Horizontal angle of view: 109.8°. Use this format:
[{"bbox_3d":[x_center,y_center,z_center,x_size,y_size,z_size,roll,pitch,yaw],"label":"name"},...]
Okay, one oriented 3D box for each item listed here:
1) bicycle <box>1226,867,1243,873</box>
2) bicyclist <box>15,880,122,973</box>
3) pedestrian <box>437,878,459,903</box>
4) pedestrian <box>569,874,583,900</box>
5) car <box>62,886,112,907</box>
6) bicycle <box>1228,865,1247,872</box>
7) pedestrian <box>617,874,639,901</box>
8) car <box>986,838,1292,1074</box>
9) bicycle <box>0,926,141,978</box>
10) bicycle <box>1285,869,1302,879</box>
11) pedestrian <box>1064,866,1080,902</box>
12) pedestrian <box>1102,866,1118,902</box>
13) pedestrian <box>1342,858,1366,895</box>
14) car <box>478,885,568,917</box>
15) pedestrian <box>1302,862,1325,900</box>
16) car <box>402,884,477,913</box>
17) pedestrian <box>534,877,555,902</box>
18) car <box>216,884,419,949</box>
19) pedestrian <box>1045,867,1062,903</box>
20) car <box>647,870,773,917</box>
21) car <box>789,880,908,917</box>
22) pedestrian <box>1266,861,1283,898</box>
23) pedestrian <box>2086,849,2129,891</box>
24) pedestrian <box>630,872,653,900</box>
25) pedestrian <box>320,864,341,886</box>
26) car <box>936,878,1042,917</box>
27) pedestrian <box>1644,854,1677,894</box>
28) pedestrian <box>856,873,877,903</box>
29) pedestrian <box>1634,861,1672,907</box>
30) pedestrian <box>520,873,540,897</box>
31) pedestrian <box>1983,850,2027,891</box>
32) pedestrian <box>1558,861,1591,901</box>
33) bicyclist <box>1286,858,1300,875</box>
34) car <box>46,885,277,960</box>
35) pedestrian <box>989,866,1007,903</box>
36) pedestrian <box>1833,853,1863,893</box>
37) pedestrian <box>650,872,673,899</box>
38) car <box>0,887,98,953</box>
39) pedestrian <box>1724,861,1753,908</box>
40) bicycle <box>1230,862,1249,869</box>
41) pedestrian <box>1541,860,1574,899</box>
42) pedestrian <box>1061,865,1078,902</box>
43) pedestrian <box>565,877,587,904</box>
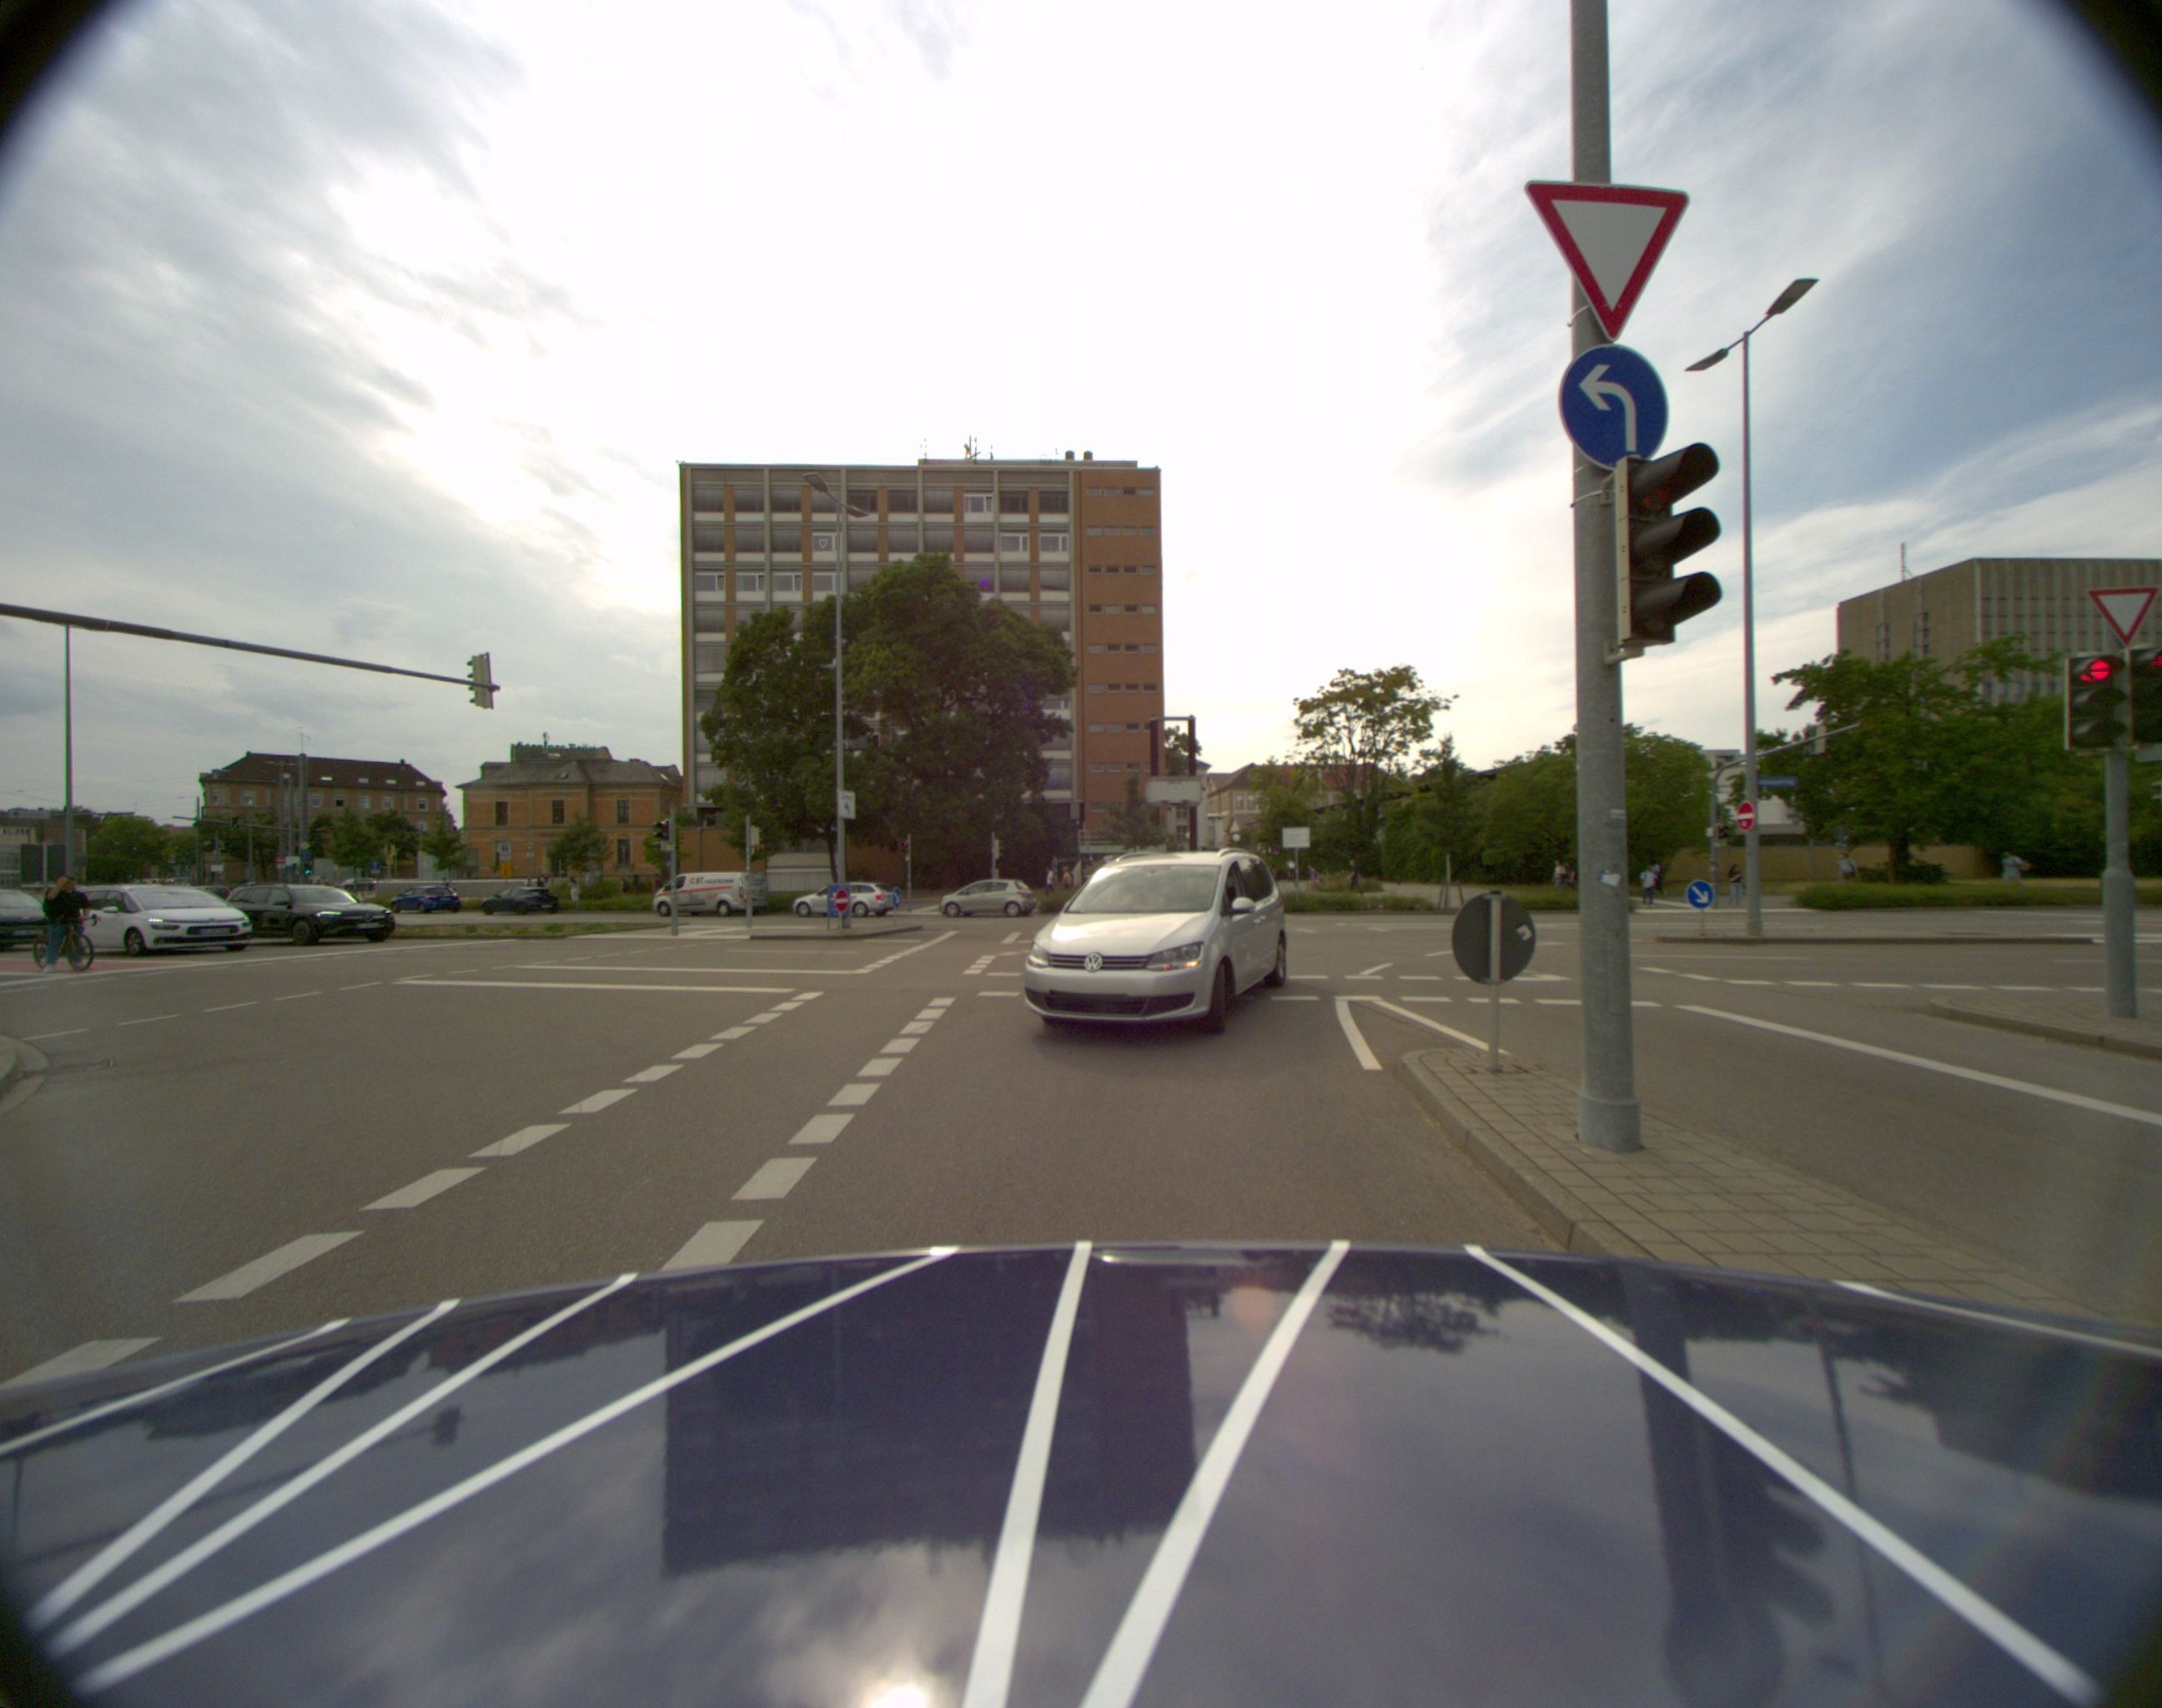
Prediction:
[{"bbox_3d":[16.691,1.735,82.580,1.842,0.689,0.653,-2,-2,10],"label":"bicycle"},{"bbox_3d":[-18.610,1.314,13.986,0.879,1.658,0.871,-1,-2,11],"label":"bicyclist"},{"bbox_3d":[-40.709,2.332,48.870,0.810,1.565,0.782,-1,1,28],"label":"pedestrian"},{"bbox_3d":[-31.051,2.041,46.714,0.550,1.528,0.548,-2,1,-18],"label":"pedestrian"},{"bbox_3d":[-81.137,3.489,62.020,3.537,1.605,1.844,-2,-2,26],"label":"car"},{"bbox_3d":[16.357,1.507,79.425,1.842,0.689,0.653,-2,-2,10],"label":"bicycle"},{"bbox_3d":[-27.137,2.015,45.488,0.810,1.565,0.782,-1,1,28],"label":"pedestrian"},{"bbox_3d":[0.951,0.842,8.010,1.821,1.723,4.537,-2,-2,23],"label":"car"},{"bbox_3d":[-18.919,1.796,14.044,2.515,0.871,0.866,-2,-2,11],"label":"bicycle"},{"bbox_3d":[16.265,1.519,58.251,0.843,0.689,1.846,-1,-2,4],"label":"bicycle"},{"bbox_3d":[-0.436,1.443,36.626,0.707,1.700,0.640,-1,-2,5],"label":"pedestrian"},{"bbox_3d":[1.409,1.443,36.942,0.707,1.701,0.640,-1,2,5],"label":"pedestrian"},{"bbox_3d":[12.685,1.040,35.324,0.799,1.700,0.840,-1,-2,5],"label":"pedestrian"},{"bbox_3d":[-28.374,2.382,38.647,3.993,1.523,1.867,-2,-2,21],"label":"car"},{"bbox_3d":[10.542,1.217,34.484,0.799,1.700,0.840,-1,-2,5],"label":"pedestrian"},{"bbox_3d":[-34.805,2.407,41.205,3.625,1.498,1.675,-2,-2,24],"label":"car"},{"bbox_3d":[-34.562,2.304,48.962,0.810,1.565,0.782,-1,1,28],"label":"pedestrian"},{"bbox_3d":[-20.953,1.705,20.888,4.503,1.640,2.003,-2,-2,16],"label":"car"},{"bbox_3d":[-1.364,1.522,37.510,0.707,1.701,0.640,-1,0,5],"label":"pedestrian"},{"bbox_3d":[-16.689,1.790,34.233,5.195,1.947,1.828,-2,-2,16],"label":"car"},{"bbox_3d":[-9.802,1.882,32.122,4.520,1.465,1.828,-2,-2,13],"label":"car"},{"bbox_3d":[9.011,1.175,35.390,0.633,1.700,0.674,-1,-2,5],"label":"pedestrian"},{"bbox_3d":[42.381,0.650,31.380,0.694,1.700,0.715,-1,-2,2],"label":"pedestrian"},{"bbox_3d":[-25.410,1.827,43.903,0.810,1.565,0.781,-1,1,24],"label":"pedestrian"},{"bbox_3d":[-53.351,1.500,53.996,0.810,1.565,0.782,-1,1,28],"label":"pedestrian"},{"bbox_3d":[-3.669,1.735,30.593,3.869,1.480,1.674,-2,-2,14],"label":"car"},{"bbox_3d":[24.920,0.876,32.692,0.799,1.700,0.715,-1,-2,-1],"label":"pedestrian"},{"bbox_3d":[-11.383,1.803,40.365,0.811,1.565,0.780,-1,1,5],"label":"pedestrian"},{"bbox_3d":[21.778,1.134,28.941,0.838,1.700,0.800,-1,-2,7],"label":"pedestrian"},{"bbox_3d":[-37.390,2.107,51.582,0.810,1.565,0.782,-1,1,28],"label":"pedestrian"},{"bbox_3d":[38.689,0.707,31.827,0.694,1.700,0.842,-1,-2,-1],"label":"pedestrian"},{"bbox_3d":[21.224,1.164,32.691,0.800,1.700,0.839,-1,-2,-13],"label":"pedestrian"},{"bbox_3d":[16.246,0.967,58.201,0.839,1.269,1.013,-1,-2,3],"label":"bicyclist"},{"bbox_3d":[-22.140,1.621,18.339,4.282,1.640,2.003,-2,-2,16],"label":"car"},{"bbox_3d":[-4.176,1.536,38.253,0.707,1.841,0.640,-1,0,5],"label":"pedestrian"},{"bbox_3d":[32.466,0.798,32.175,0.694,1.686,0.544,-1,2,-1],"label":"pedestrian"},{"bbox_3d":[-24.917,1.869,45.135,0.810,1.565,0.781,-1,1,24],"label":"pedestrian"},{"bbox_3d":[-28.956,1.742,20.190,4.282,1.640,2.003,-2,-2,16],"label":"car"},{"bbox_3d":[24.118,1.106,27.869,0.587,1.700,0.481,-1,-2,7],"label":"pedestrian"},{"bbox_3d":[16.257,1.216,77.823,1.842,0.689,0.668,-2,-2,10],"label":"bicycle"},{"bbox_3d":[21.057,1.128,33.587,0.800,1.700,0.839,-1,-2,-13],"label":"pedestrian"},{"bbox_3d":[-0.537,1.383,35.846,0.707,1.701,0.640,-1,1,5],"label":"pedestrian"},{"bbox_3d":[-31.035,2.229,46.676,0.810,1.565,0.782,-1,1,28],"label":"pedestrian"}]
